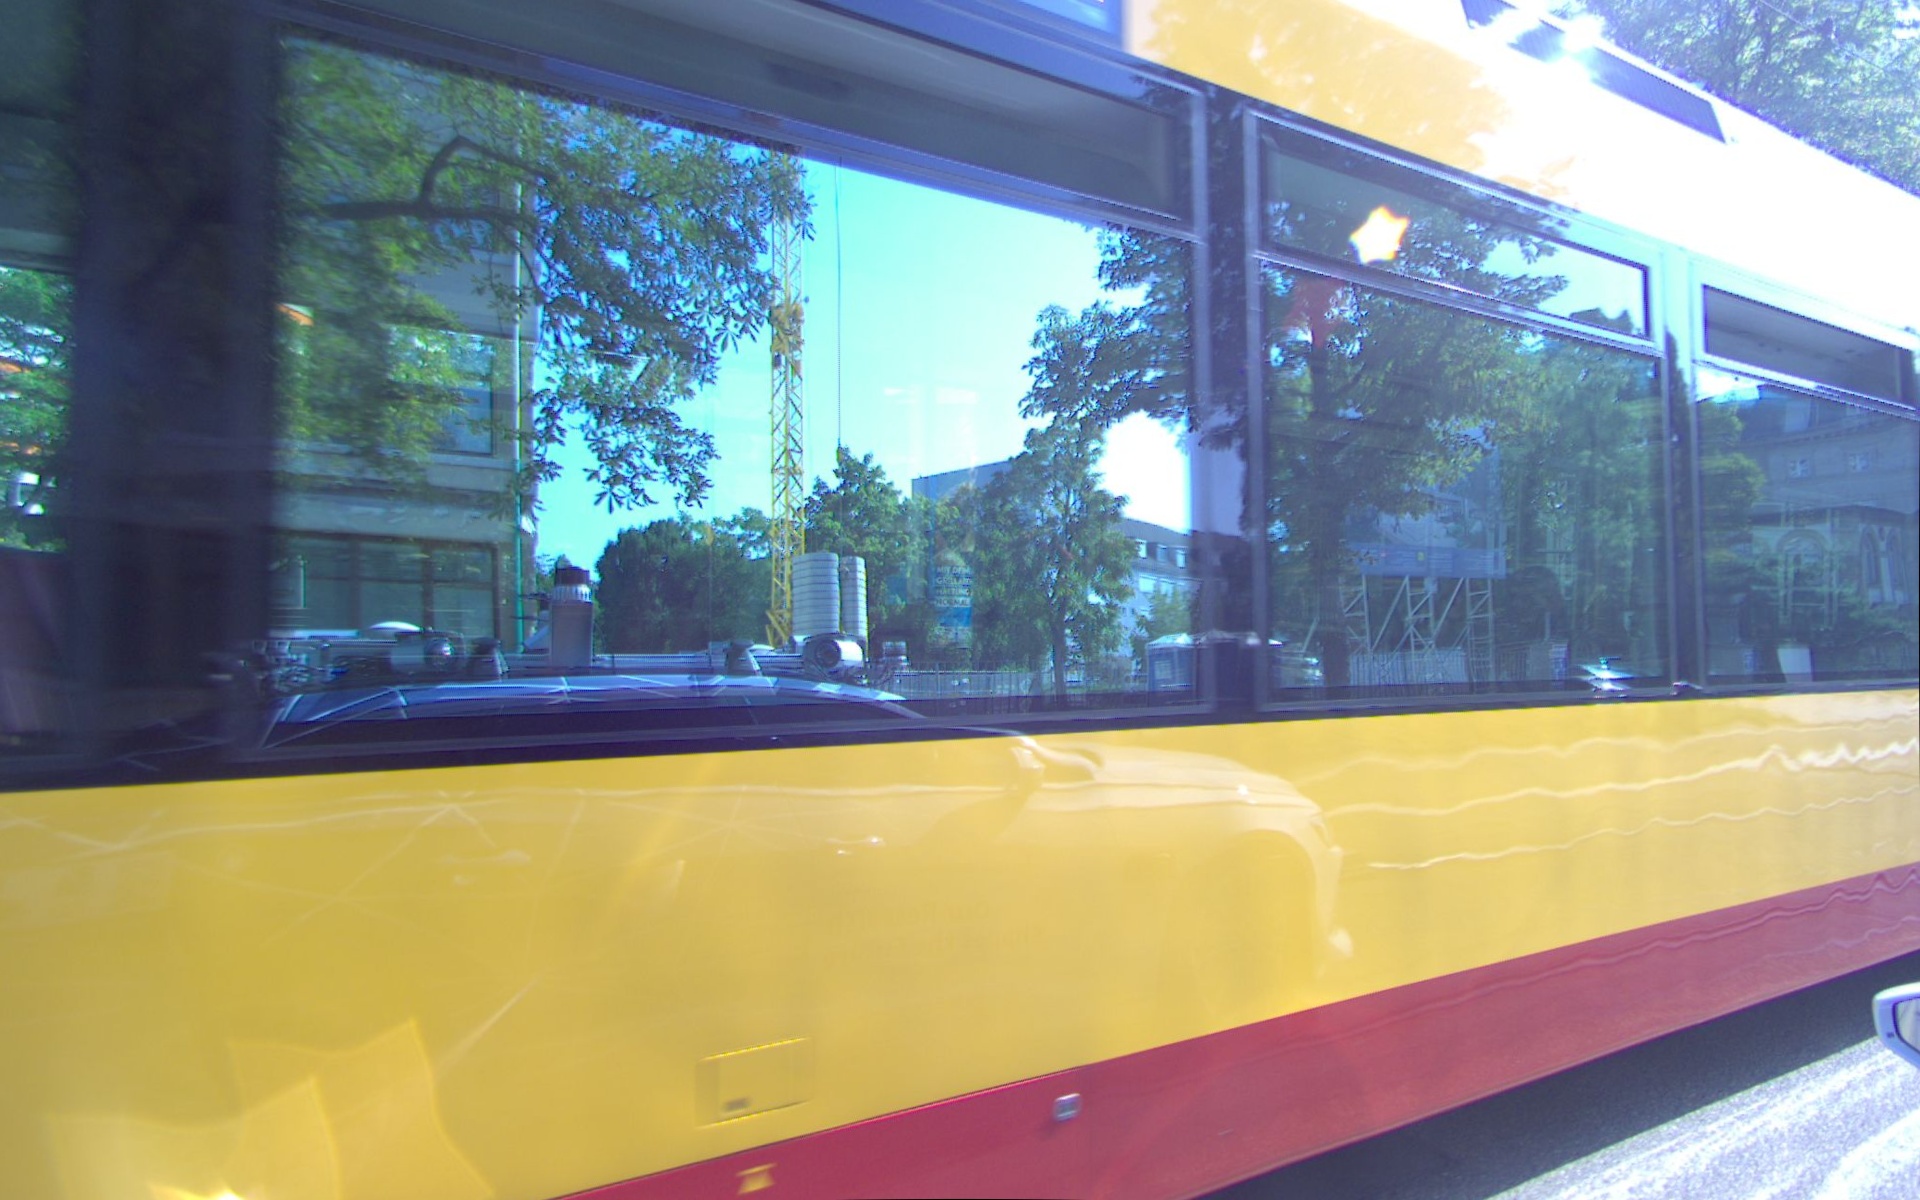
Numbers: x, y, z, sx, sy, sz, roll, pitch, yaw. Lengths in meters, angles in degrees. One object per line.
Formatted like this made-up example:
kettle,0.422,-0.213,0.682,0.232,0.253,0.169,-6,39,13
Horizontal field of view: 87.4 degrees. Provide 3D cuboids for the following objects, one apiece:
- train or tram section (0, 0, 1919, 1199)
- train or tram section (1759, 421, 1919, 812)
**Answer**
train or tram section,0.439,-0.010,3.436,15.262,2.933,2.718,1,-1,-28
train or tram section,10.105,0.182,8.664,6.461,2.887,2.718,1,-1,-28
